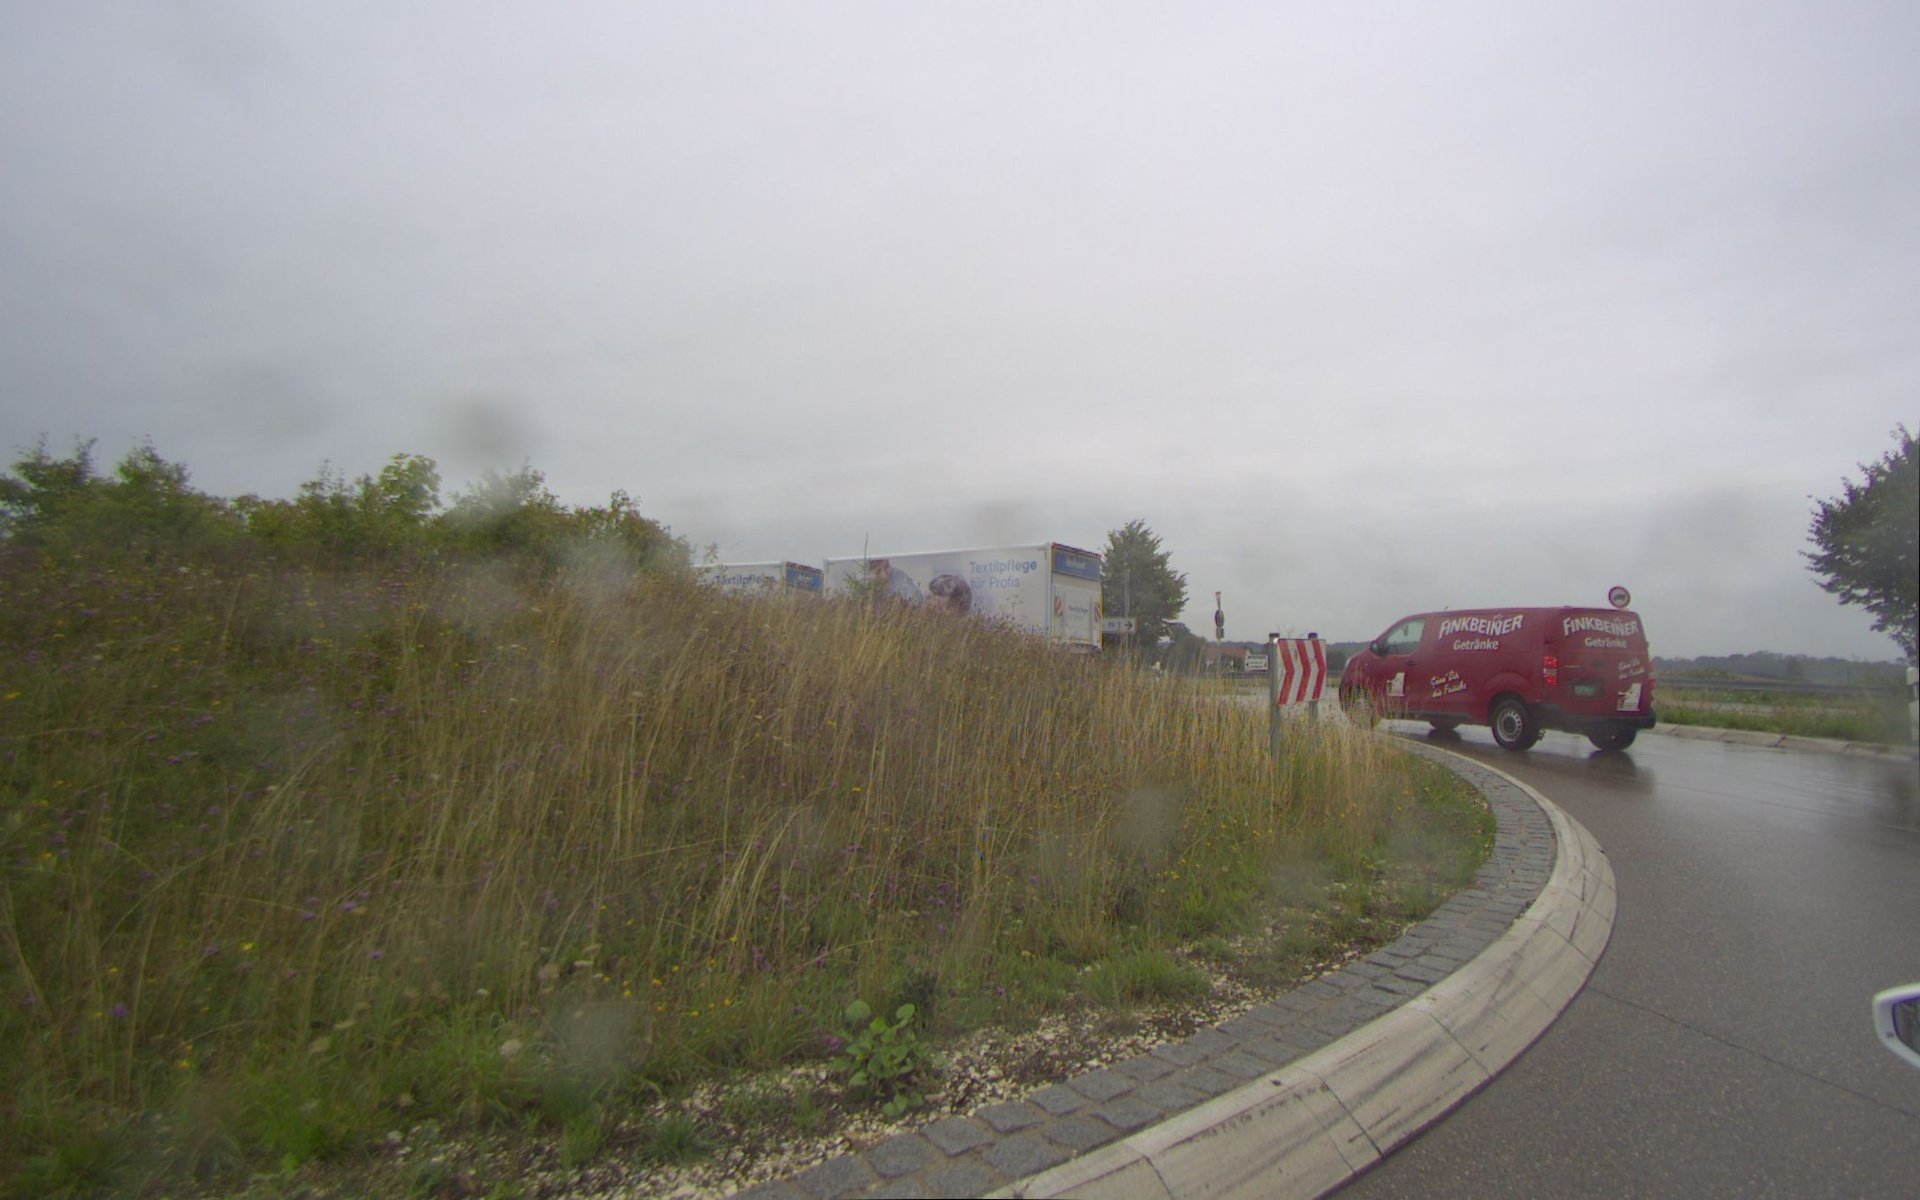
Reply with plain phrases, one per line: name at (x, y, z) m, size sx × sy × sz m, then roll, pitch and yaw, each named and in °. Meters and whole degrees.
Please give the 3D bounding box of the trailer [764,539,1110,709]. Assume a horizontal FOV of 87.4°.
trailer at (-0.903, 0.675, 26.895) m, size 9.560 × 3.869 × 2.831 m, roll -1°, pitch -3°, yaw 37°

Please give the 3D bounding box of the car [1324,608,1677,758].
car at (7.861, 1.126, 15.311) m, size 1.966 × 1.895 × 4.966 m, roll 1°, pitch -2°, yaw -13°

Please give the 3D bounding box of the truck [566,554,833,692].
truck at (-7.922, 0.703, 30.665) m, size 7.536 × 3.869 × 2.810 m, roll 0°, pitch -2°, yaw 18°
